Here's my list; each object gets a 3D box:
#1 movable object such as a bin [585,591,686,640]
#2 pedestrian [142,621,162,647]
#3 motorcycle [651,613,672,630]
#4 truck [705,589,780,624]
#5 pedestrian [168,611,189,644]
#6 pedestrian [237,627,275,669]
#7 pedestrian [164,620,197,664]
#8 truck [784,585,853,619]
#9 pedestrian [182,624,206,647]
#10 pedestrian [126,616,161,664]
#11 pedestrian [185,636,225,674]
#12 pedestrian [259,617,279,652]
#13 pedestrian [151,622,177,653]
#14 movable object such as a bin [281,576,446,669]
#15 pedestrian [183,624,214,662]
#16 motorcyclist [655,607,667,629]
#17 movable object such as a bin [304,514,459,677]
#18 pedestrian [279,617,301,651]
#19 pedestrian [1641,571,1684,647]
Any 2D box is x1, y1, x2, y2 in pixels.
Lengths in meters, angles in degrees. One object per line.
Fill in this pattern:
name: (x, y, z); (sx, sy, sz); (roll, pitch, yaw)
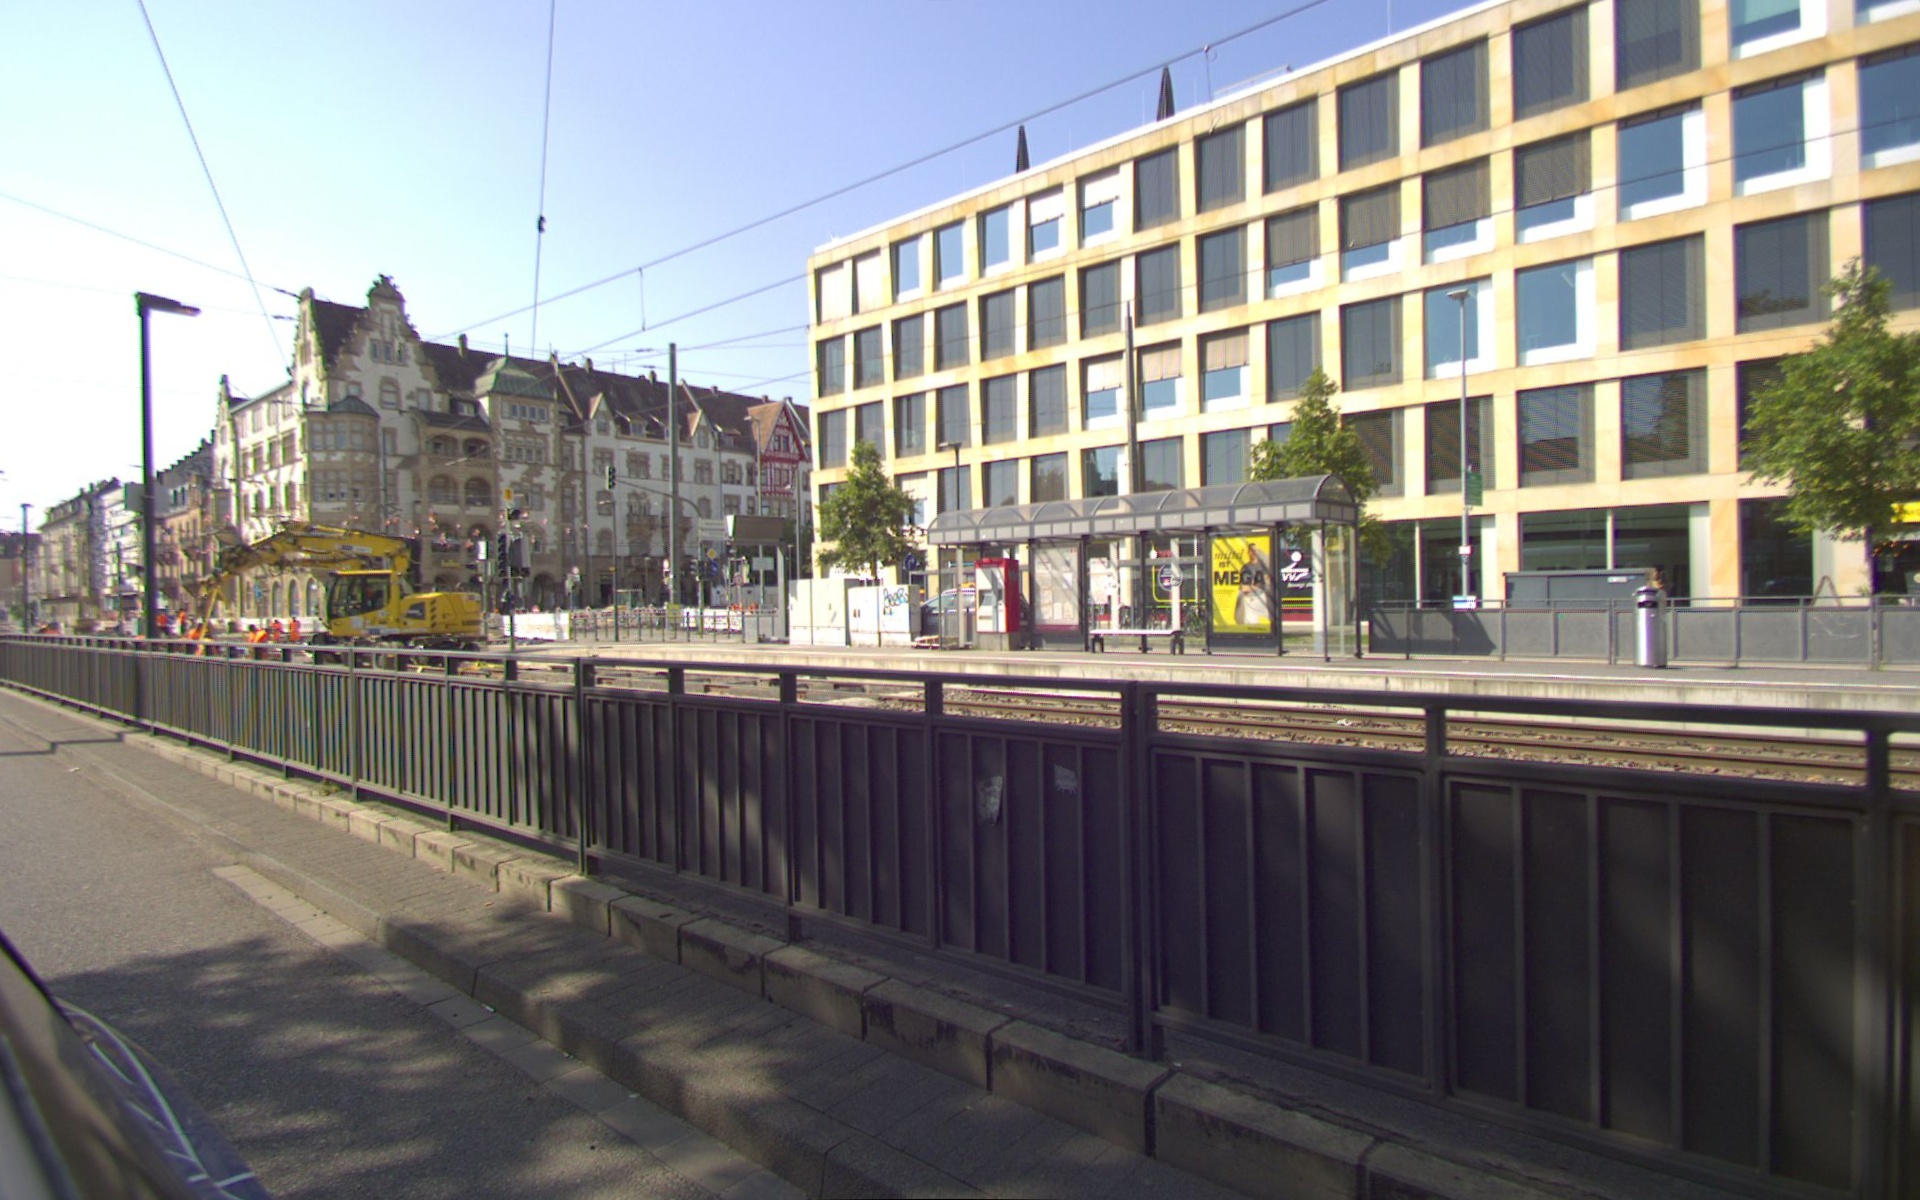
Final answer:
movable object such as a bin: (-20.196, 0.918, 63.190); (2.490, 2.810, 5.444); (0, 1, 41)
pedestrian: (-39.833, 1.690, 49.905); (0.547, 1.256, 0.669); (-2, -1, 39)
motorcycle: (-16.162, 1.180, 54.763); (0.426, 0.885, 1.630); (1, -2, 7)
truck: (-18.630, 0.541, 87.109); (2.688, 2.836, 5.963); (-2, -1, 38)
pedestrian: (-40.431, 1.418, 52.347); (0.678, 1.715, 0.743); (-2, -1, 40)
pedestrian: (-20.106, 1.361, 28.906); (0.692, 1.163, 0.589); (-1, -1, -10)
pedestrian: (-24.471, 1.309, 31.773); (0.691, 1.345, 0.839); (-1, -1, -28)
truck: (-13.102, 0.191, 94.274); (2.627, 3.066, 6.276); (-2, -1, 37)
pedestrian: (-40.404, 1.870, 53.360); (0.864, 1.192, 0.723); (0, -2, 33)
pedestrian: (-25.947, 1.263, 32.178); (0.730, 1.490, 0.705); (-1, -1, -27)
pedestrian: (-20.359, 1.477, 27.272); (0.881, 0.962, 0.693); (-2, -1, 41)
pedestrian: (-34.434, 1.712, 50.433); (0.728, 1.715, 0.761); (-1, -1, -30)
pedestrian: (-41.385, 1.944, 52.610); (0.727, 1.568, 0.753); (-1, -1, -2)
movable object such as a bin: (-22.430, 0.834, 38.204); (3.548, 3.247, 4.090); (-2, -1, 25)
pedestrian: (-24.744, 1.383, 32.906); (0.691, 1.186, 0.704); (-1, -1, -28)
motorcyclist: (-16.174, 0.961, 54.739); (0.426, 1.188, 0.515); (1, -2, 8)
movable object such as a bin: (-17.698, -0.087, 30.896); (4.212, 4.589, 2.954); (-2, -1, 43)
pedestrian: (-33.802, 1.714, 51.092); (0.758, 1.715, 0.731); (-2, -1, 40)
pedestrian: (19.239, 0.250, 27.718); (0.822, 2.029, 0.758); (-2, -1, 44)
